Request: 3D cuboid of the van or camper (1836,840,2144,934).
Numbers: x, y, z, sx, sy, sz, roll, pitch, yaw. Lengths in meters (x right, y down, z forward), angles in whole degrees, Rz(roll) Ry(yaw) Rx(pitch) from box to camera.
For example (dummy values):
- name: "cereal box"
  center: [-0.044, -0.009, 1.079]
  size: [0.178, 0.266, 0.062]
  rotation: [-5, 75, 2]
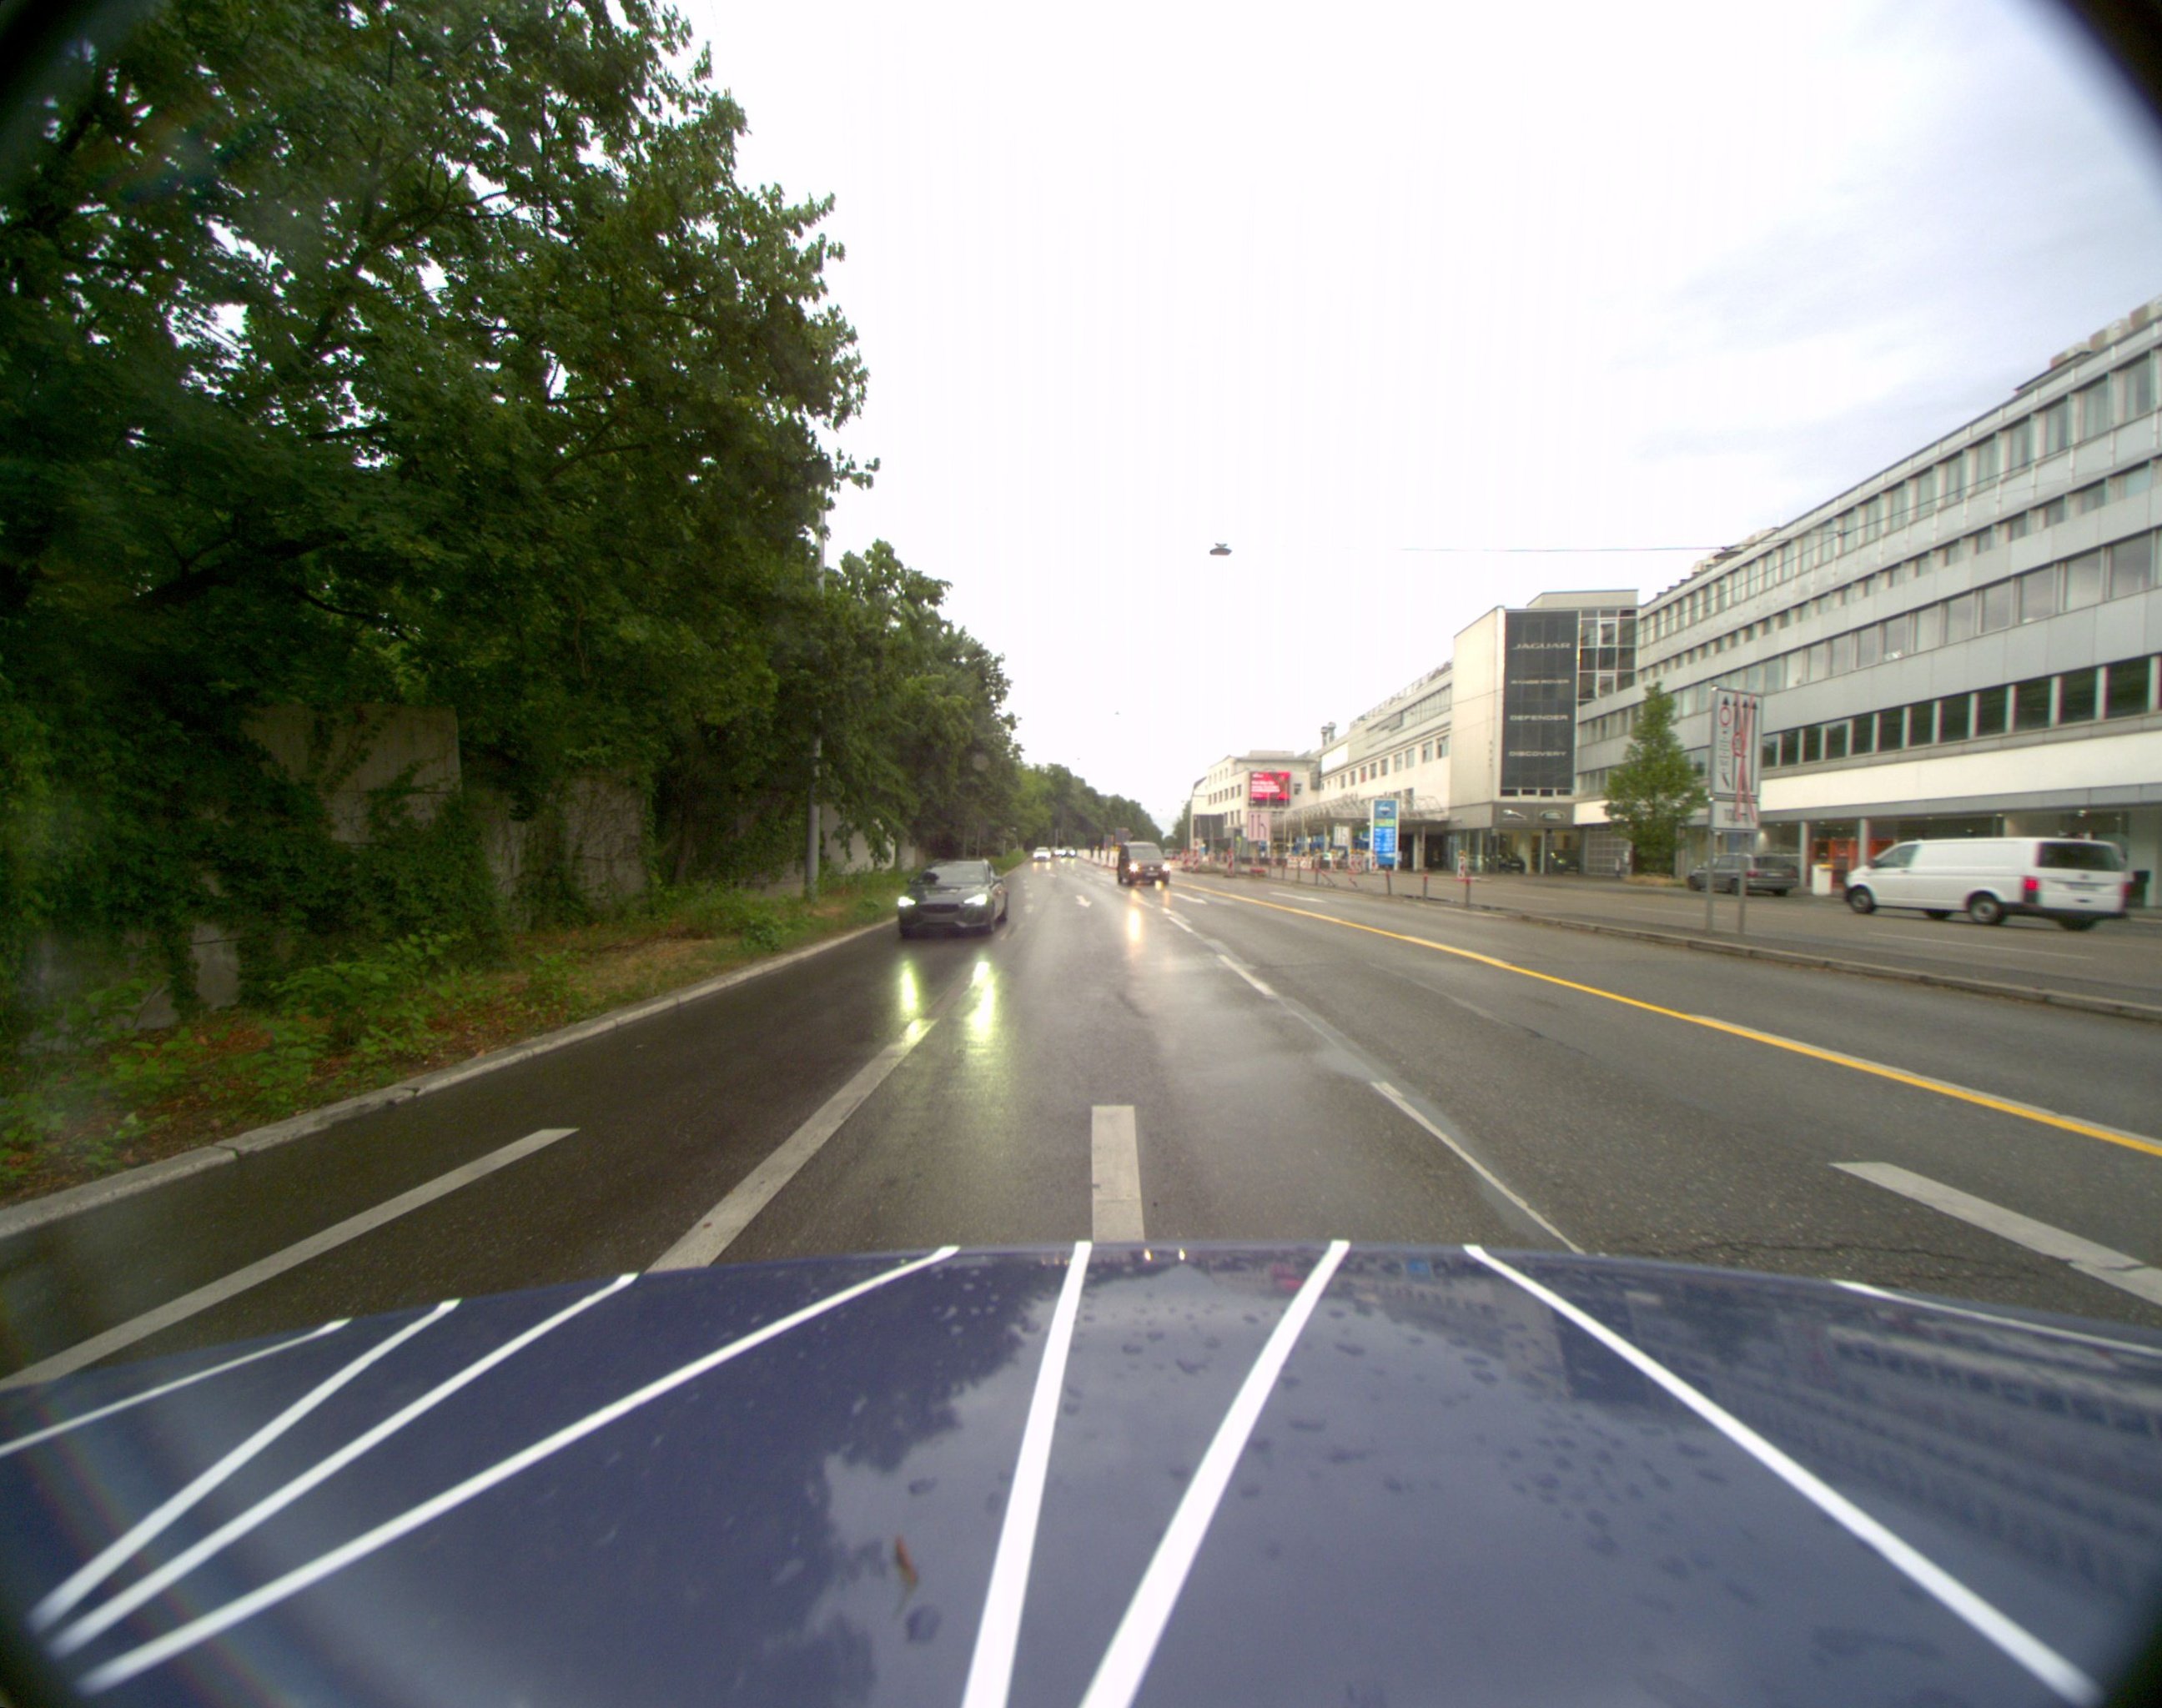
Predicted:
- name: "van or camper"
  center: [20.756, 0.641, 17.764]
  size: [1.939, 1.913, 4.687]
  rotation: [0, 1, 8]

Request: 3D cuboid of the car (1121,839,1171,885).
- name: "car"
  center: [2.766, 0.301, 33.231]
  size: [1.905, 1.804, 4.430]
  rotation: [-2, 1, 2]

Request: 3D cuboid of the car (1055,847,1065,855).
- name: "car"
  center: [-4.194, -0.580, 153.979]
  size: [1.814, 1.590, 4.333]
  rotation: [-2, 1, 2]

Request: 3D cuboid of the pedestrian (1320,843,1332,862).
- name: "pedestrian"
  center: [23.862, -0.173, 74.033]
  size: [0.895, 1.804, 0.941]
  rotation: [-2, 1, 5]

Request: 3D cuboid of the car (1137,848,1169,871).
- name: "car"
  center: [4.933, 0.364, 51.783]
  size: [1.770, 1.407, 4.336]
  rotation: [-2, 1, 10]

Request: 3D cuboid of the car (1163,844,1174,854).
- name: "car"
  center: [15.499, -0.896, 134.813]
  size: [1.608, 1.635, 3.379]
  rotation: [-2, 1, 2]

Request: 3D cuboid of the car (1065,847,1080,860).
- name: "car"
  center: [-1.166, -0.070, 105.485]
  size: [1.814, 1.590, 4.333]
  rotation: [-2, 1, 1]

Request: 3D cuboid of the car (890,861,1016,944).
- name: "car"
  center: [-2.496, 0.890, 15.859]
  size: [1.752, 1.395, 4.414]
  rotation: [-3, 0, 1]

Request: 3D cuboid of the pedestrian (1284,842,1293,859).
- name: "pedestrian"
  center: [23.199, -0.372, 84.887]
  size: [0.894, 1.804, 0.942]
  rotation: [-2, 1, 14]

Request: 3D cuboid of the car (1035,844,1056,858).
- name: "car"
  center: [-3.819, -0.344, 82.208]
  size: [1.814, 1.444, 4.333]
  rotation: [-2, 1, 2]

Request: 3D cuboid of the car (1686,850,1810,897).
- name: "car"
  center: [28.370, 0.770, 32.504]
  size: [1.922, 1.805, 4.166]
  rotation: [-2, 1, 6]

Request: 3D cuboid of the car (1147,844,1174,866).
- name: "car"
  center: [6.344, 0.049, 60.898]
  size: [1.771, 1.608, 3.949]
  rotation: [-2, 1, 2]
